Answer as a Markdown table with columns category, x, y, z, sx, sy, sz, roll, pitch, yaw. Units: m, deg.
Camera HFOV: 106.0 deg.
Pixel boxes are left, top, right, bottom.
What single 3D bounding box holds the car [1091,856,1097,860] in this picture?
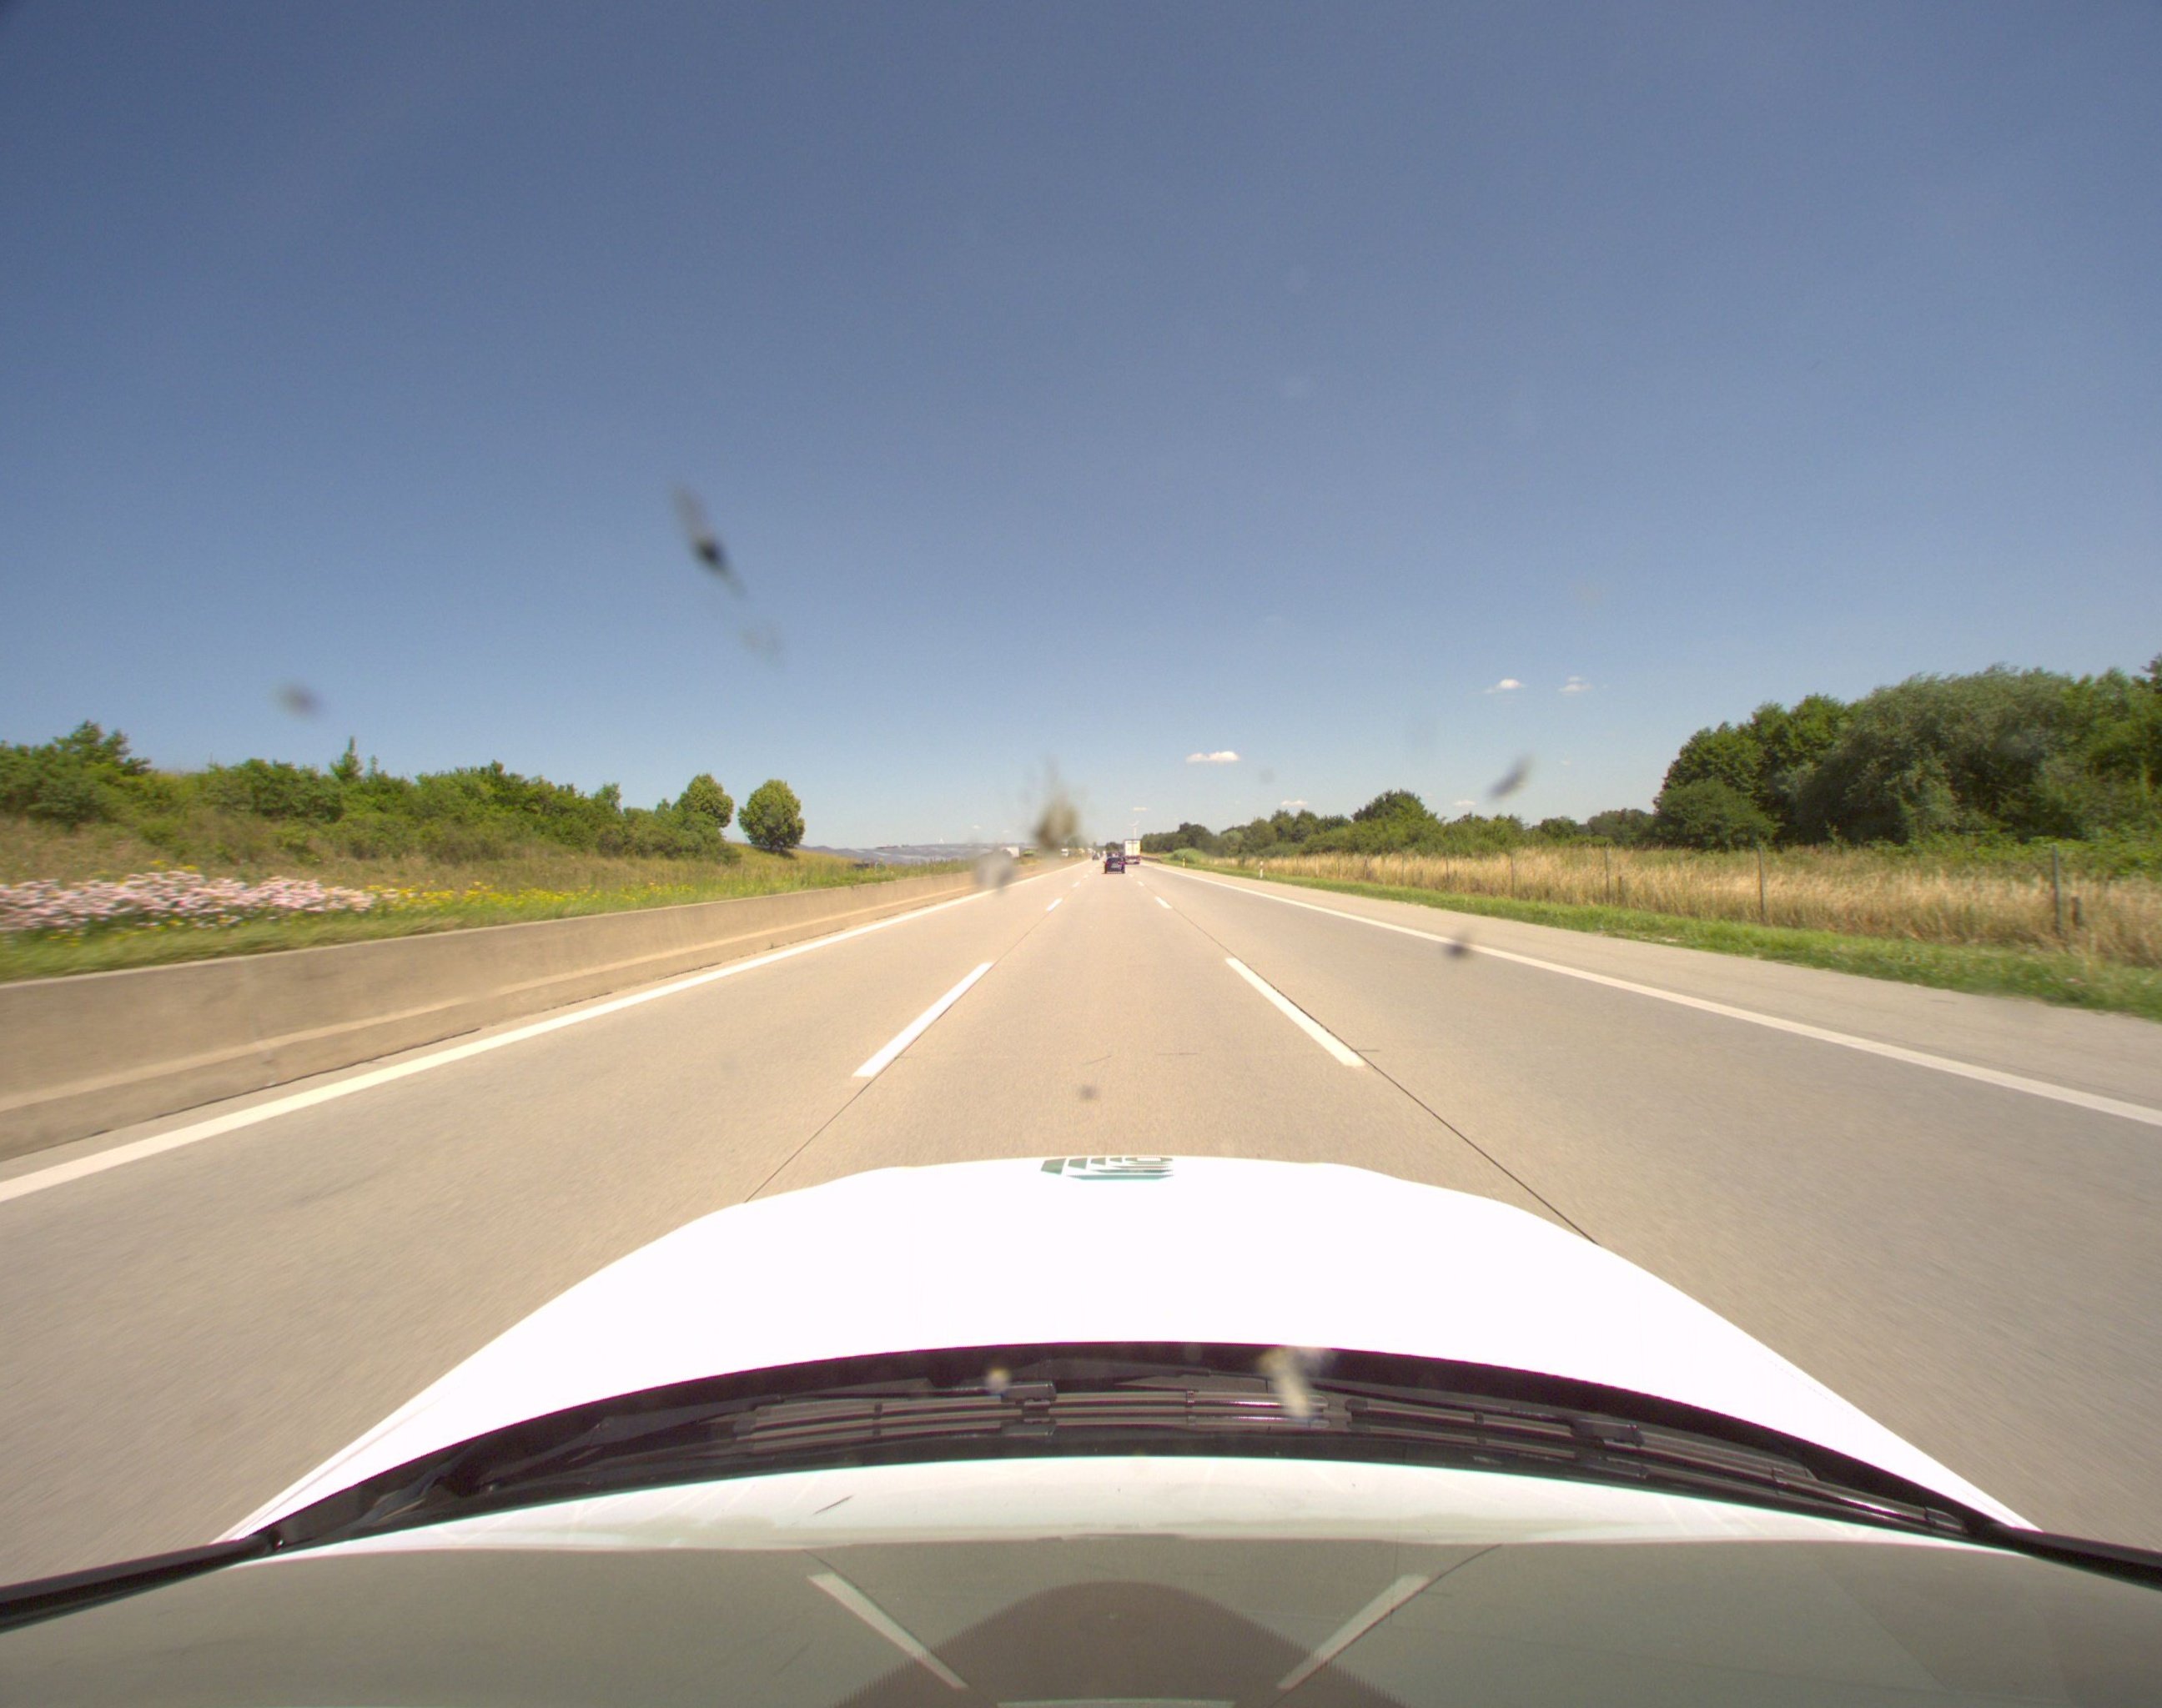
| category | x | y | z | sx | sy | sz | roll | pitch | yaw |
| --- | --- | --- | --- | --- | --- | --- | --- | --- | --- |
| car | 3.467 | 1.061 | 219.598 | 1.649 | 1.196 | 3.962 | 2 | 0 | 2 |

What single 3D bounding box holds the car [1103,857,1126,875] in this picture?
| category | x | y | z | sx | sy | sz | roll | pitch | yaw |
| --- | --- | --- | --- | --- | --- | --- | --- | --- | --- |
| car | 2.882 | 1.043 | 70.927 | 1.903 | 1.492 | 4.193 | 0 | 0 | 1 |

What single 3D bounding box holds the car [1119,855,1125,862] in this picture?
| category | x | y | z | sx | sy | sz | roll | pitch | yaw |
| --- | --- | --- | --- | --- | --- | --- | --- | --- | --- |
| car | 12.449 | 1.348 | 247.868 | 1.818 | 1.907 | 4.006 | -1 | 0 | 5 |

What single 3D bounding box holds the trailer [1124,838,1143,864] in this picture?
| category | x | y | z | sx | sy | sz | roll | pitch | yaw |
| --- | --- | --- | --- | --- | --- | --- | --- | --- | --- |
| trailer | 8.784 | -0.501 | 136.536 | 2.841 | 4.042 | 12.719 | -1 | 0 | 2 |
